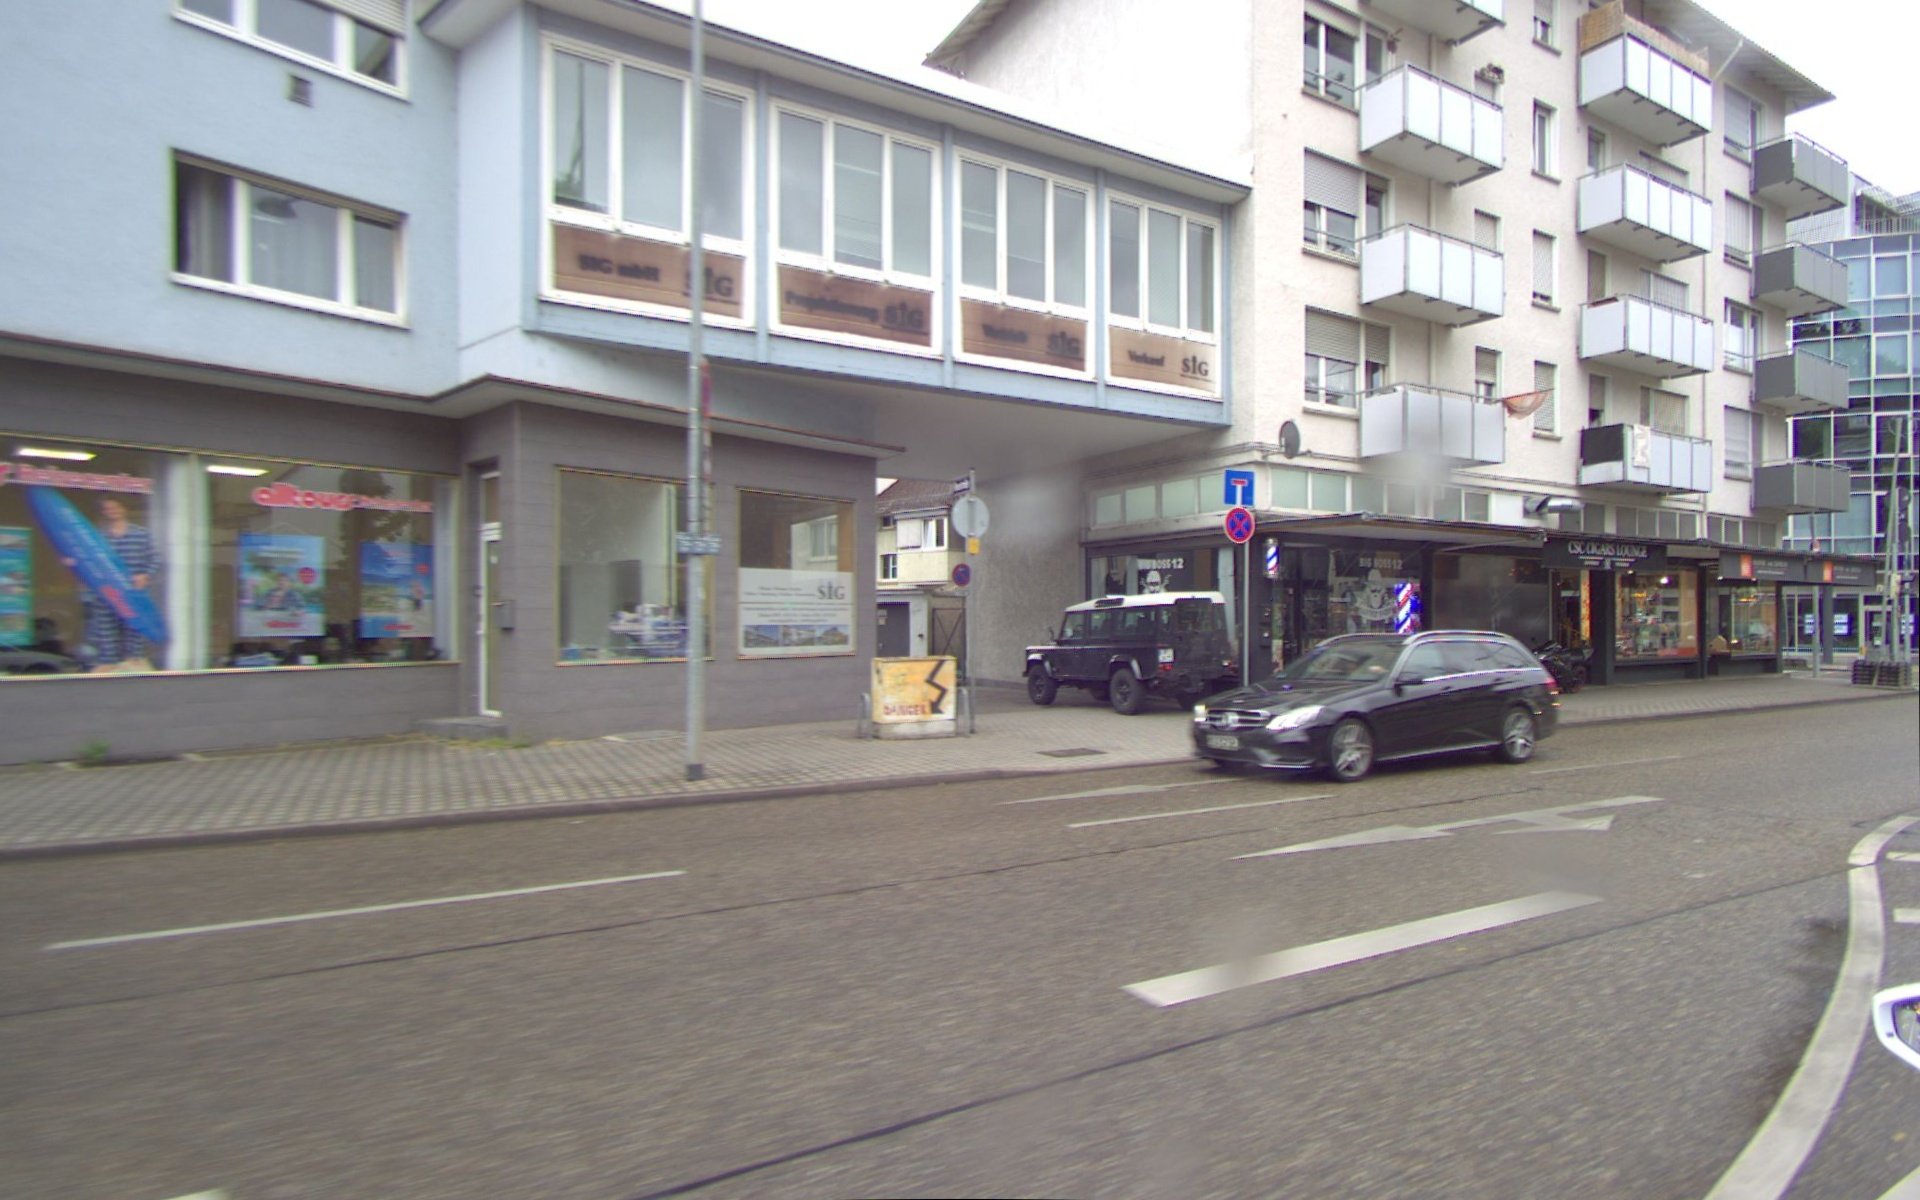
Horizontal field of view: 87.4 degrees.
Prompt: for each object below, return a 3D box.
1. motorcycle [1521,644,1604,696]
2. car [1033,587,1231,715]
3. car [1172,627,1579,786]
[{"bbox_3d":[12.701,1.452,21.159,2.110,1.009,0.523,1,1,-29],"label":"motorcycle"},{"bbox_3d":[2.999,0.874,18.319,1.560,2.061,3.950,1,-1,-26],"label":"car"},{"bbox_3d":[4.814,1.090,11.427,4.772,1.487,1.700,1,-4,-30],"label":"car"}]
